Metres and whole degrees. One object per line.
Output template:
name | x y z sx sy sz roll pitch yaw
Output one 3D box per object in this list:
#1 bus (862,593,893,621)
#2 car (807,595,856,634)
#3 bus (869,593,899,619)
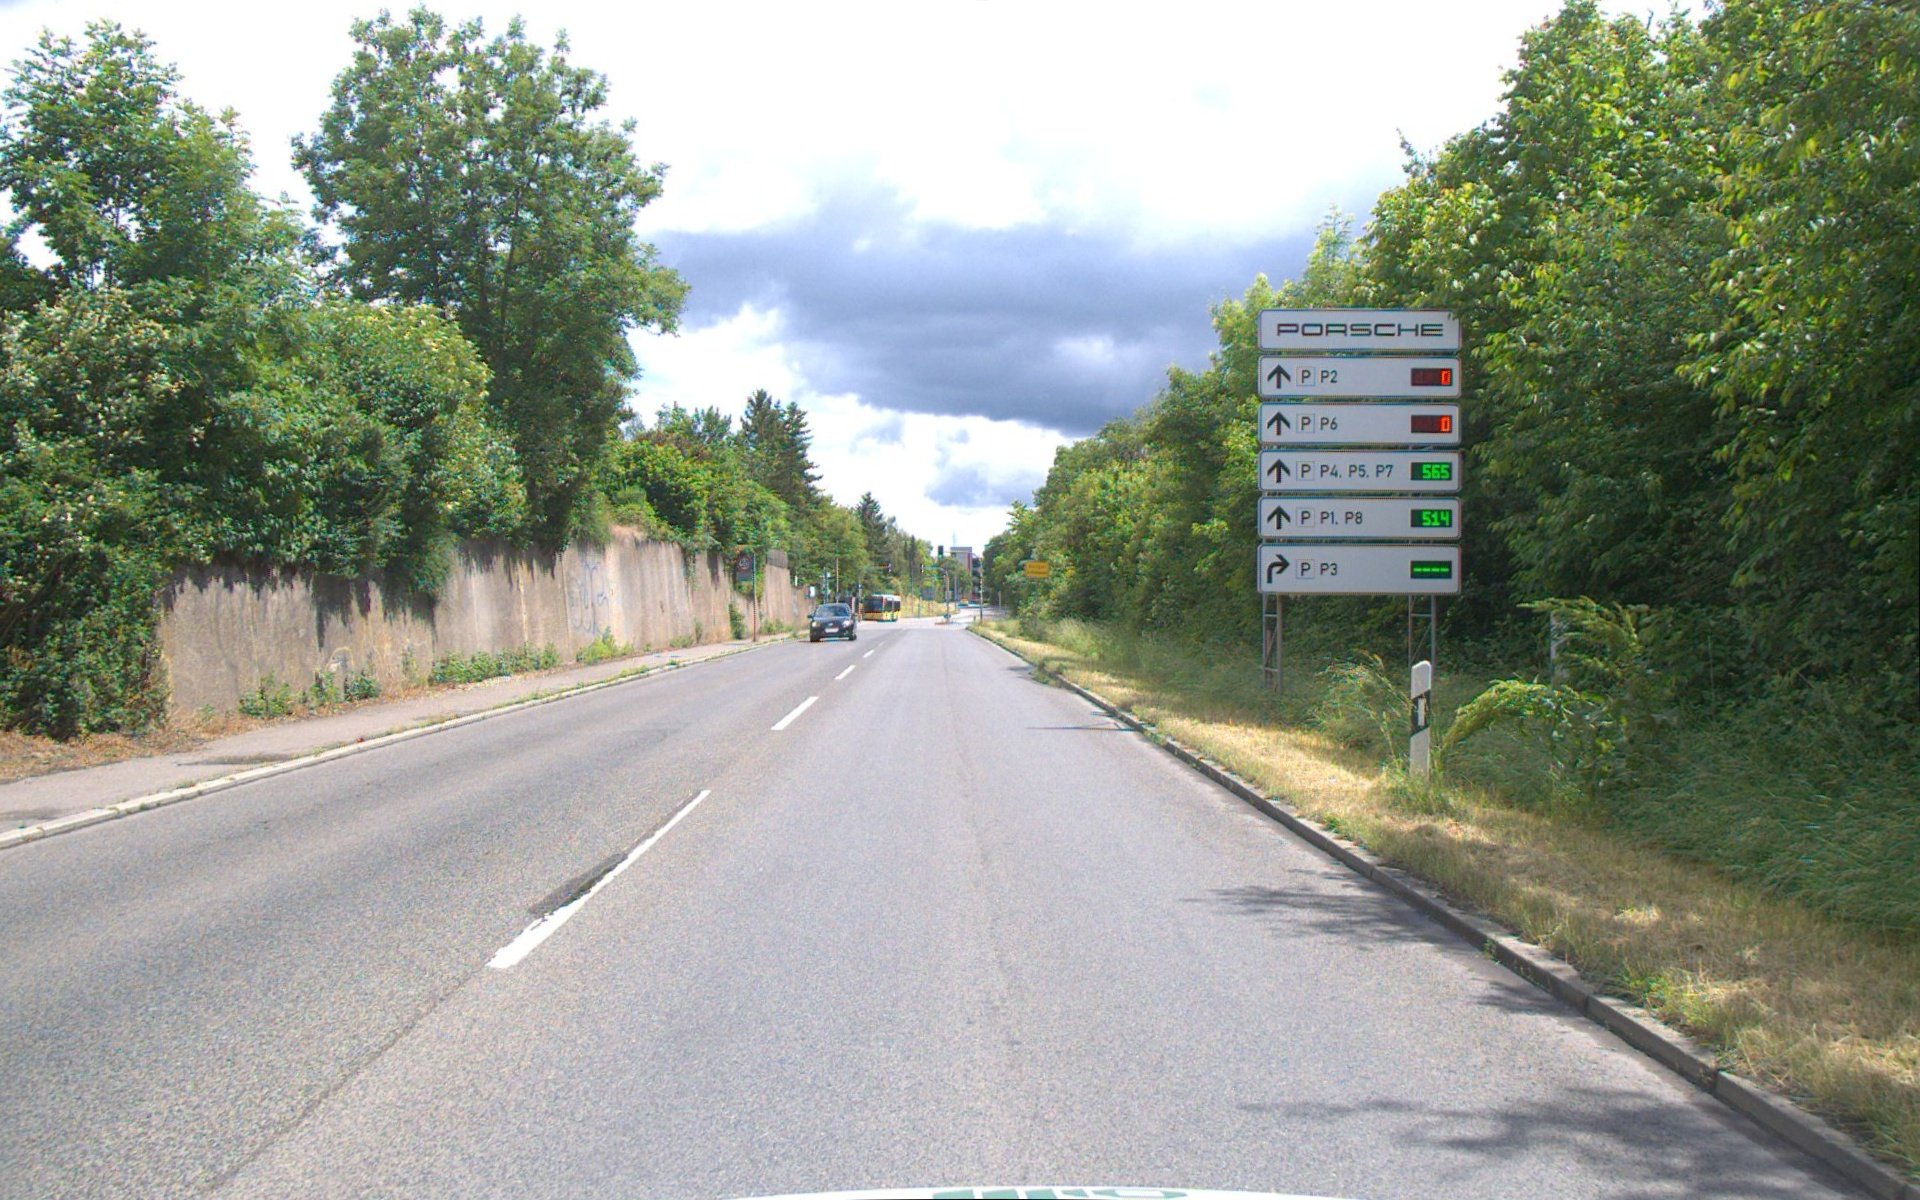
bus | -9.520 0.795 191.955 2.834 2.949 7.670 2 1 2
car | -5.045 0.551 65.502 1.716 1.489 3.999 -1 0 -2
bus | -9.101 0.672 199.532 2.834 2.949 7.670 2 1 2
